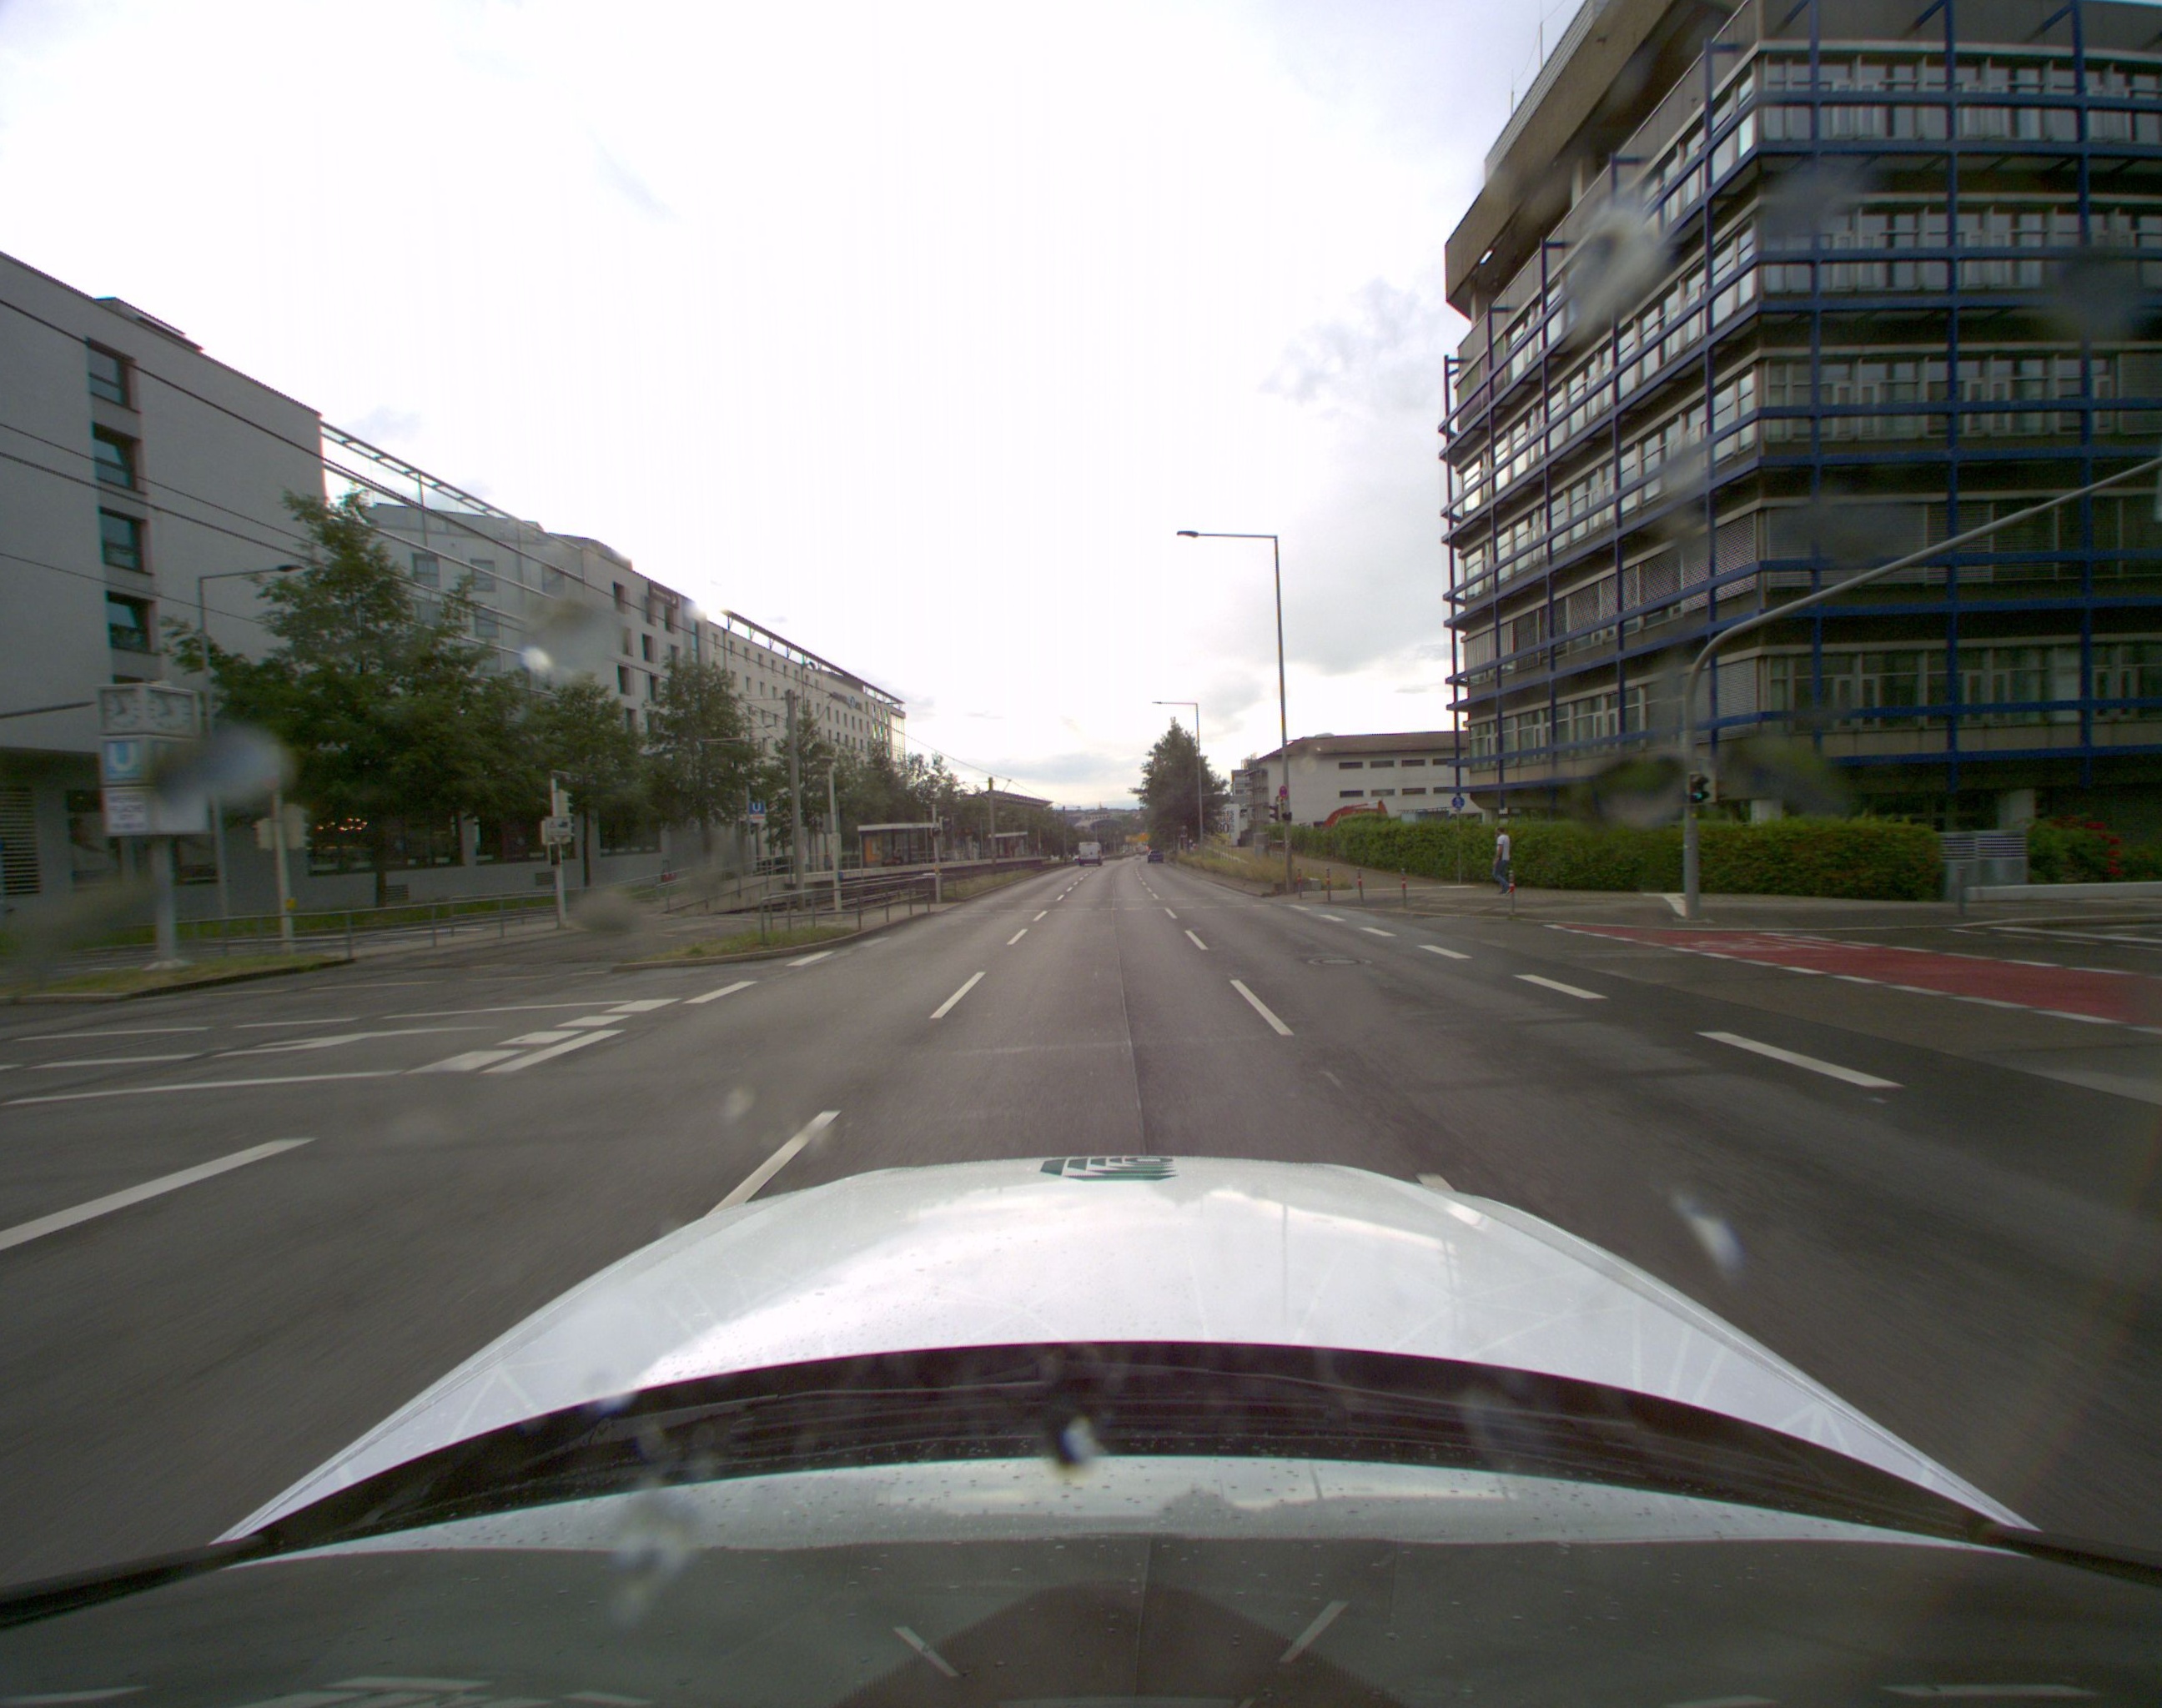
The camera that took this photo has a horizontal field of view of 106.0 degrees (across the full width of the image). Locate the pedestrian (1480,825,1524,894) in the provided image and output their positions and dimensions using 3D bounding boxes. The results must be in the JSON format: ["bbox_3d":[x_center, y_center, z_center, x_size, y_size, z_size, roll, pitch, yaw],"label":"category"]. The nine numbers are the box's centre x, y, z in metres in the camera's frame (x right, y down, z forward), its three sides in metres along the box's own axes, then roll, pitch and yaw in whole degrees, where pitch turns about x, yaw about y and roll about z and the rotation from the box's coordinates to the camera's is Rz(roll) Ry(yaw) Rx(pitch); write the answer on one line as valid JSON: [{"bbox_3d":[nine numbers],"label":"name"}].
[{"bbox_3d":[10.404,0.132,20.131,0.553,1.652,0.830,-2,0,-7],"label":"pedestrian"}]

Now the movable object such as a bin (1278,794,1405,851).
[{"bbox_3d":[27.294,-3.275,85.858,12.093,5.261,3.792,-3,-1,2],"label":"movable object such as a bin"}]

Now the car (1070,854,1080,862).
[{"bbox_3d":[-1.608,1.116,223.570,1.984,1.847,5.009,-3,0,5],"label":"car"}]

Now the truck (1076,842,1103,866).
[{"bbox_3d":[0.904,0.007,79.222,2.350,2.262,5.310,0,0,3],"label":"truck"}]

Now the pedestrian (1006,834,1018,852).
[{"bbox_3d":[-8.004,-1.288,94.828,1.267,2.014,1.126,0,0,-11],"label":"pedestrian"}]

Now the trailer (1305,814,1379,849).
[{"bbox_3d":[24.372,-2.017,76.380,2.646,3.042,7.449,0,0,-19],"label":"trailer"}]

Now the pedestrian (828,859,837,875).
[{"bbox_3d":[-25.802,1.341,84.512,0.597,1.578,0.836,0,0,4],"label":"pedestrian"}]

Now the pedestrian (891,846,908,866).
[{"bbox_3d":[-12.452,0.127,55.870,0.957,1.300,0.685,-2,0,3],"label":"pedestrian"}]

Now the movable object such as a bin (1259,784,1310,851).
[{"bbox_3d":[18.662,-3.183,75.298,3.274,5.684,8.776,0,0,5],"label":"movable object such as a bin"}]

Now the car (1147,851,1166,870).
[{"bbox_3d":[8.522,0.708,91.924,1.984,2.014,3.940,0,0,5],"label":"car"}]
